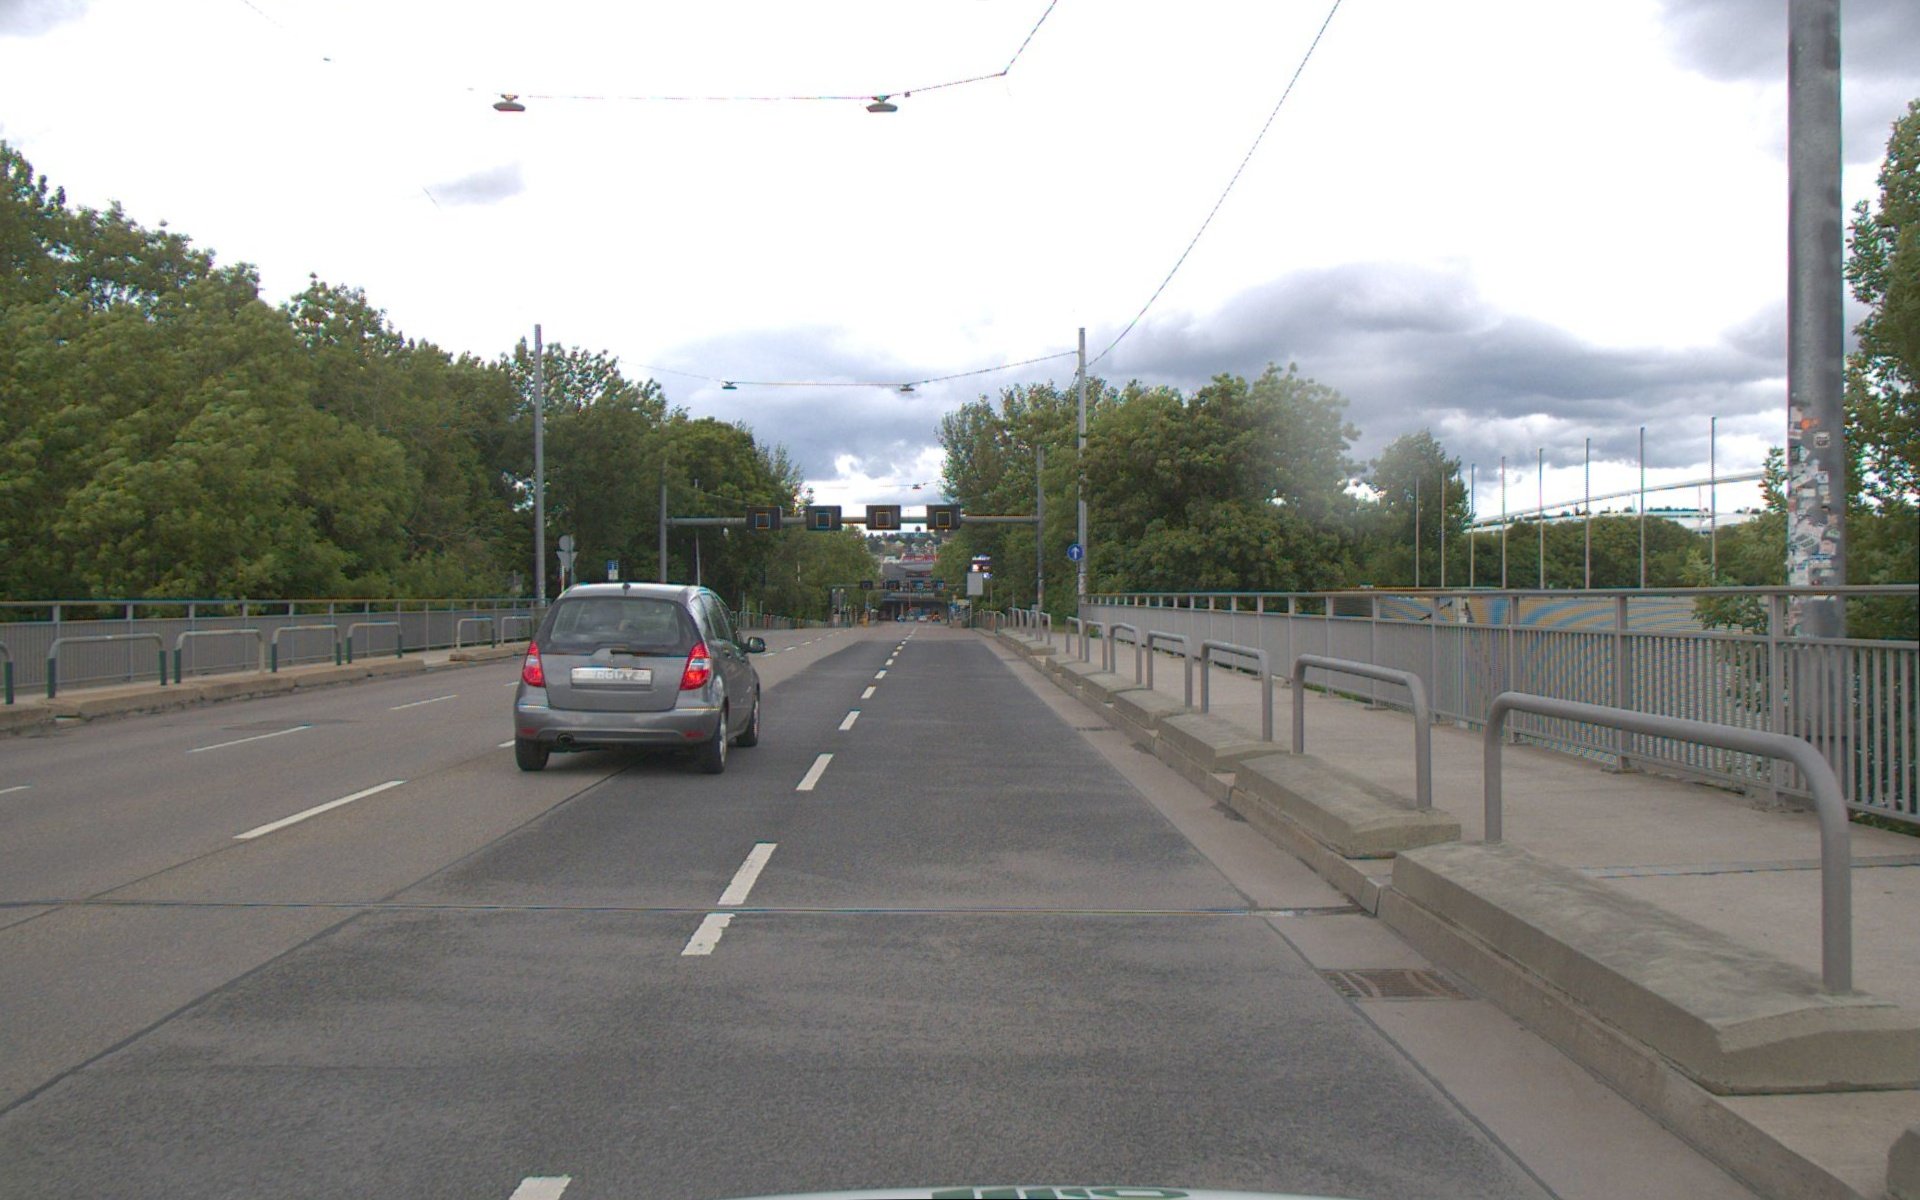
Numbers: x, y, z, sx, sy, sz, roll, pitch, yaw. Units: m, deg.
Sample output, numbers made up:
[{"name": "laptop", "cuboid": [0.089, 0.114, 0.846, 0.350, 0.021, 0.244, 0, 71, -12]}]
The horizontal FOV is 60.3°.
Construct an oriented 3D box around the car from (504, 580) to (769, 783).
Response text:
[{"name": "car", "cuboid": [-2.776, 0.619, 14.985, 1.710, 1.577, 3.870, 0, 1, -1]}]
